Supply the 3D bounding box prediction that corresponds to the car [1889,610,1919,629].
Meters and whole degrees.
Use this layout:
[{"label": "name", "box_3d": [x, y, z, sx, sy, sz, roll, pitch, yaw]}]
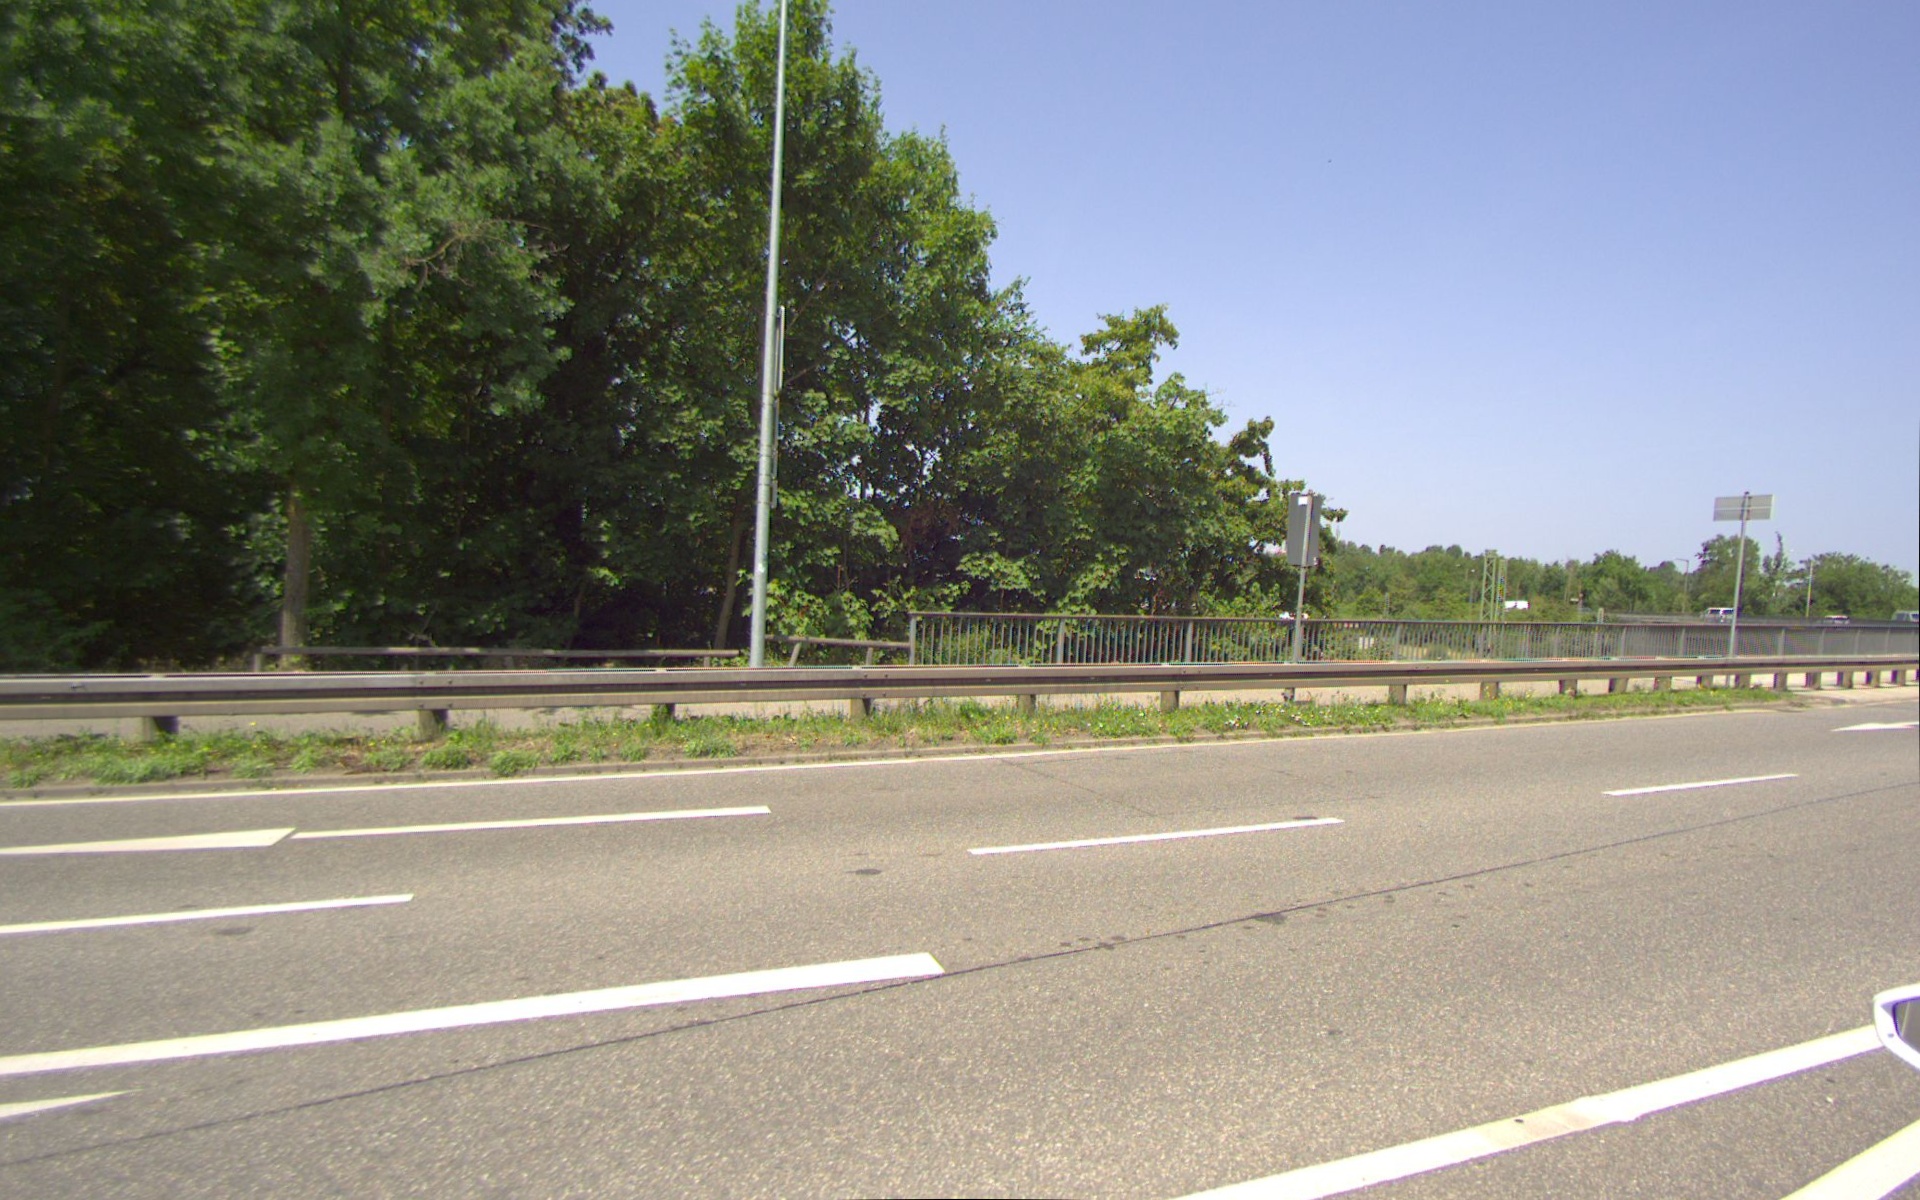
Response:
[{"label": "car", "box_3d": [78.207, 1.608, 82.578, 1.534, 1.405, 3.612, 2, 2, 24]}]
